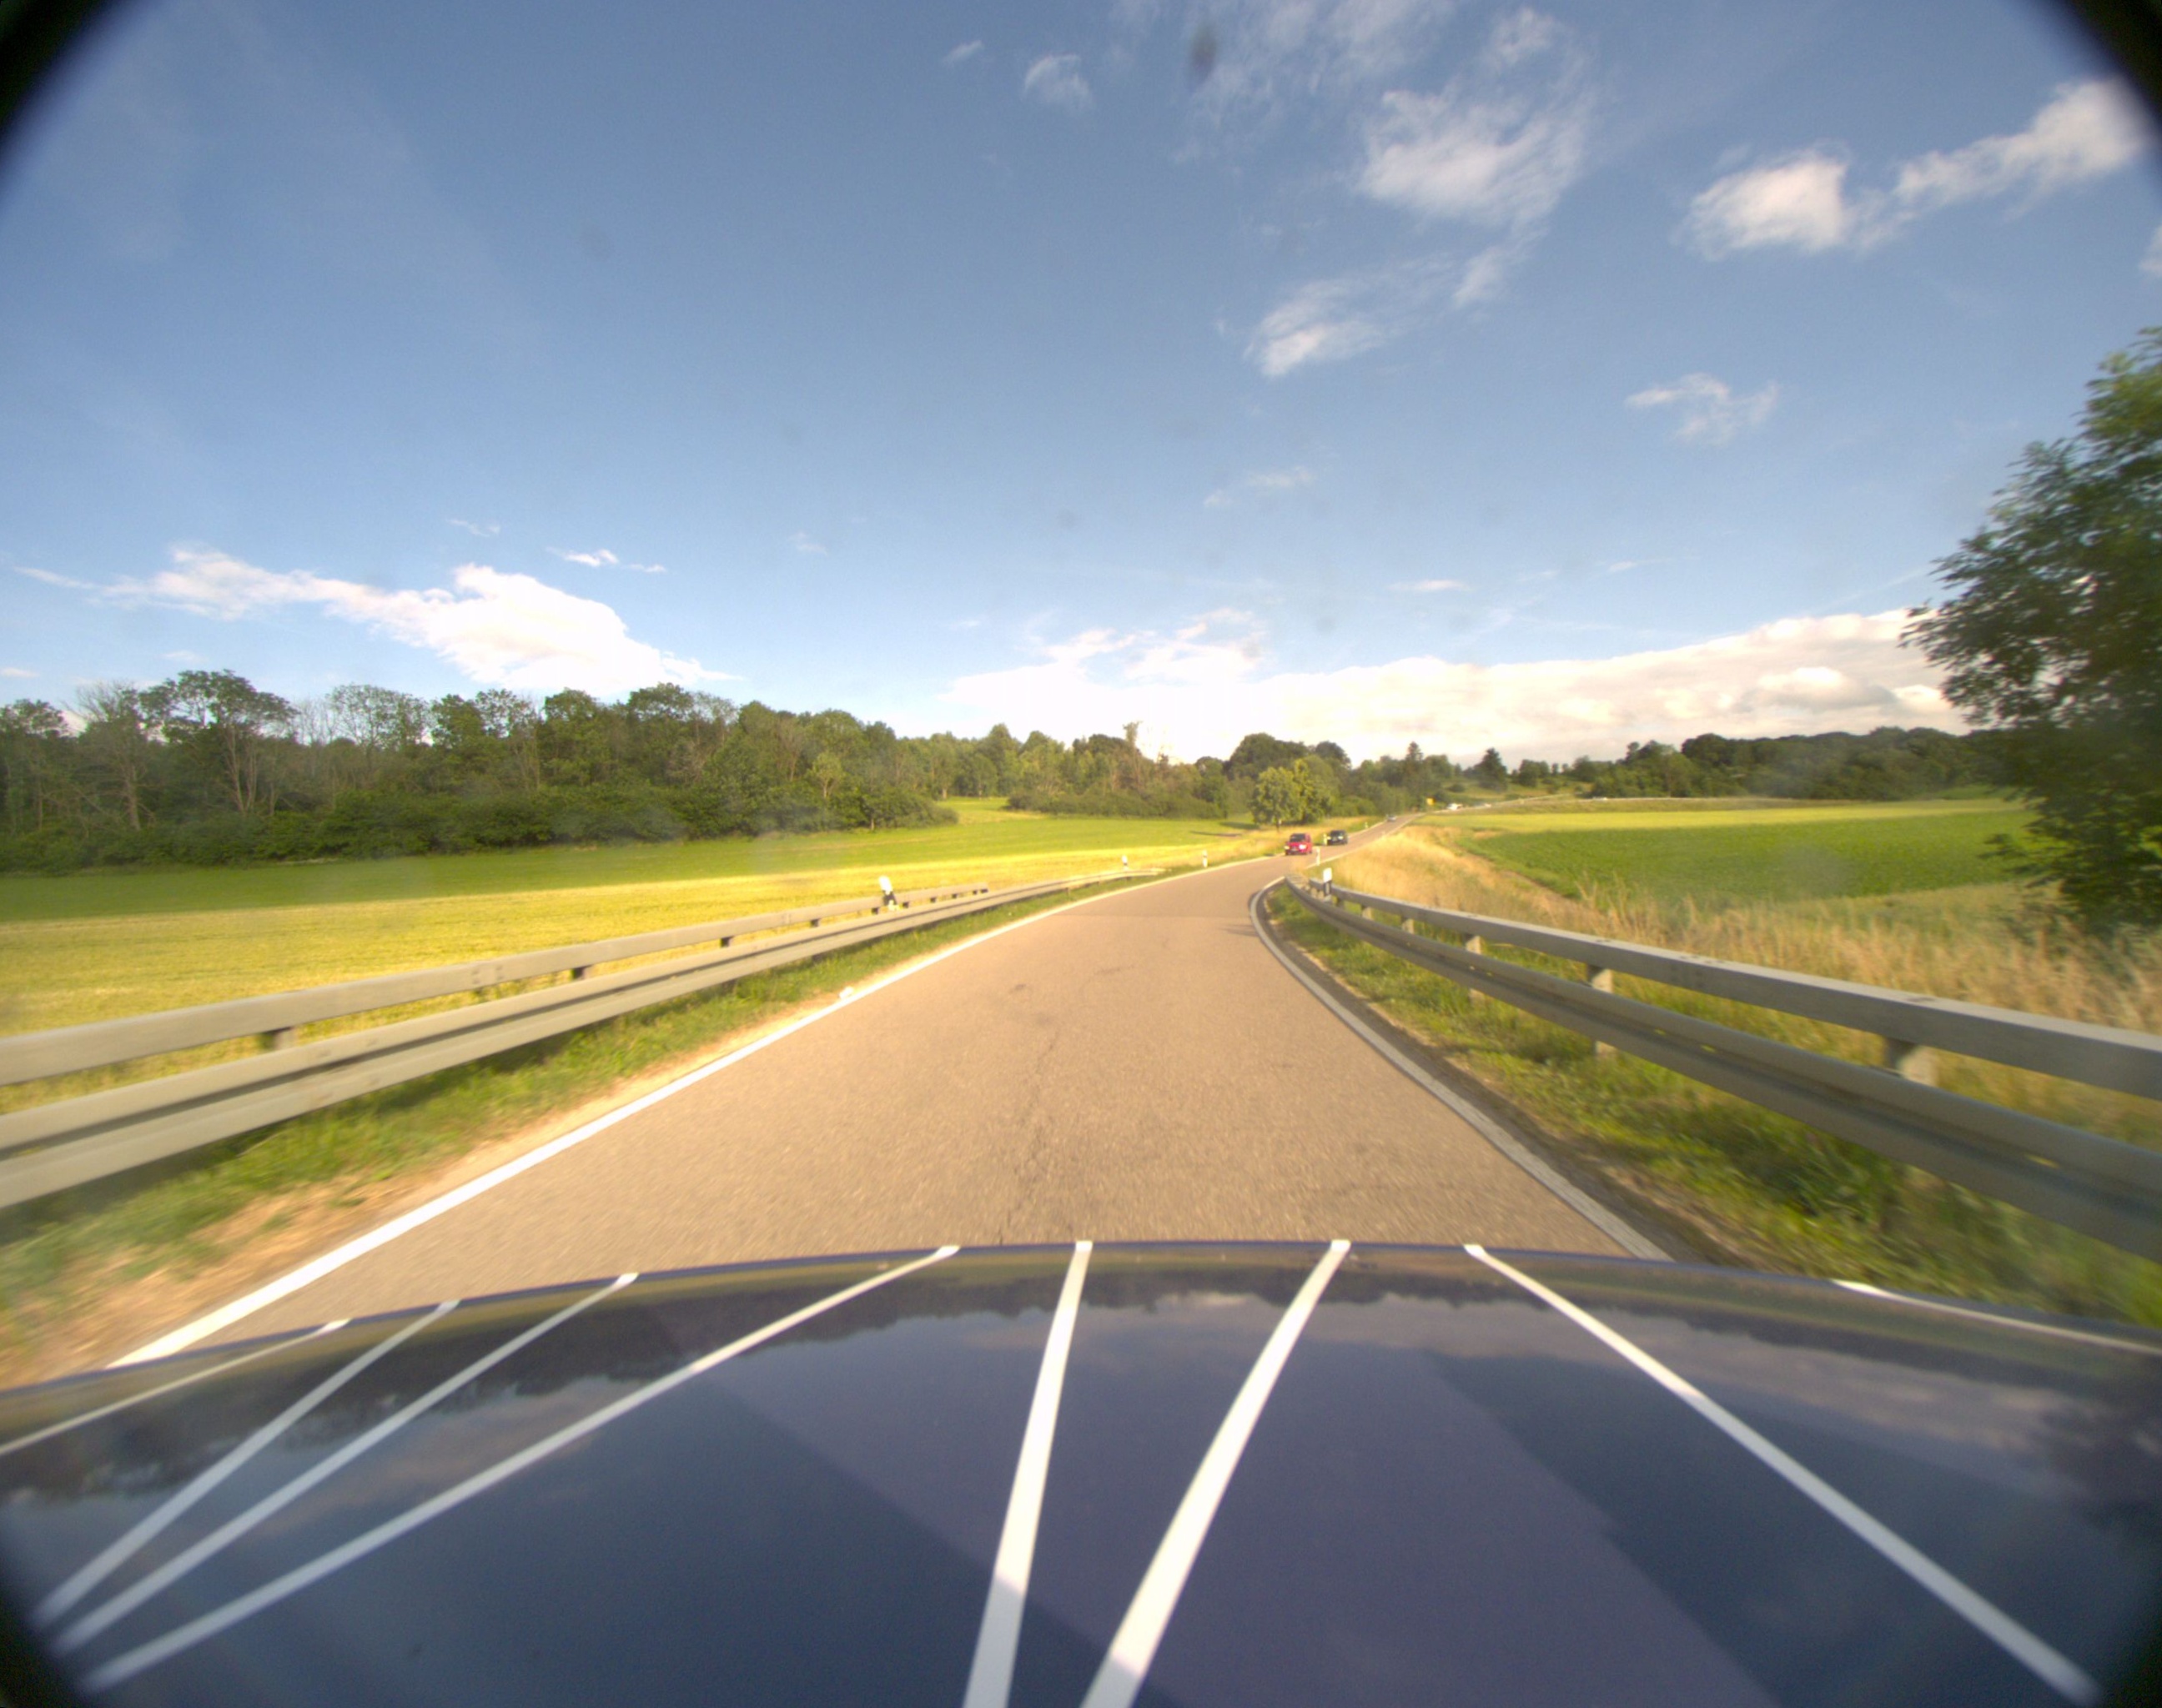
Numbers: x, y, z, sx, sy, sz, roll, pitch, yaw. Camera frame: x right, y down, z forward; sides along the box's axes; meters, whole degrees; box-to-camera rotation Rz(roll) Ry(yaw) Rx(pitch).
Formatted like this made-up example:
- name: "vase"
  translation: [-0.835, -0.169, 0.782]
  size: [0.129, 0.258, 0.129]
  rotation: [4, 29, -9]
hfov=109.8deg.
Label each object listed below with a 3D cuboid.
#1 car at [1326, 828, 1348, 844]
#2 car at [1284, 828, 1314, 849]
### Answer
- name: "car"
  translation: [28.489, -2.044, 84.443]
  size: [1.818, 1.602, 4.005]
  rotation: [-1, 2, 25]
- name: "car"
  translation: [18.365, -1.335, 63.973]
  size: [1.818, 1.646, 4.005]
  rotation: [-2, 1, 24]
